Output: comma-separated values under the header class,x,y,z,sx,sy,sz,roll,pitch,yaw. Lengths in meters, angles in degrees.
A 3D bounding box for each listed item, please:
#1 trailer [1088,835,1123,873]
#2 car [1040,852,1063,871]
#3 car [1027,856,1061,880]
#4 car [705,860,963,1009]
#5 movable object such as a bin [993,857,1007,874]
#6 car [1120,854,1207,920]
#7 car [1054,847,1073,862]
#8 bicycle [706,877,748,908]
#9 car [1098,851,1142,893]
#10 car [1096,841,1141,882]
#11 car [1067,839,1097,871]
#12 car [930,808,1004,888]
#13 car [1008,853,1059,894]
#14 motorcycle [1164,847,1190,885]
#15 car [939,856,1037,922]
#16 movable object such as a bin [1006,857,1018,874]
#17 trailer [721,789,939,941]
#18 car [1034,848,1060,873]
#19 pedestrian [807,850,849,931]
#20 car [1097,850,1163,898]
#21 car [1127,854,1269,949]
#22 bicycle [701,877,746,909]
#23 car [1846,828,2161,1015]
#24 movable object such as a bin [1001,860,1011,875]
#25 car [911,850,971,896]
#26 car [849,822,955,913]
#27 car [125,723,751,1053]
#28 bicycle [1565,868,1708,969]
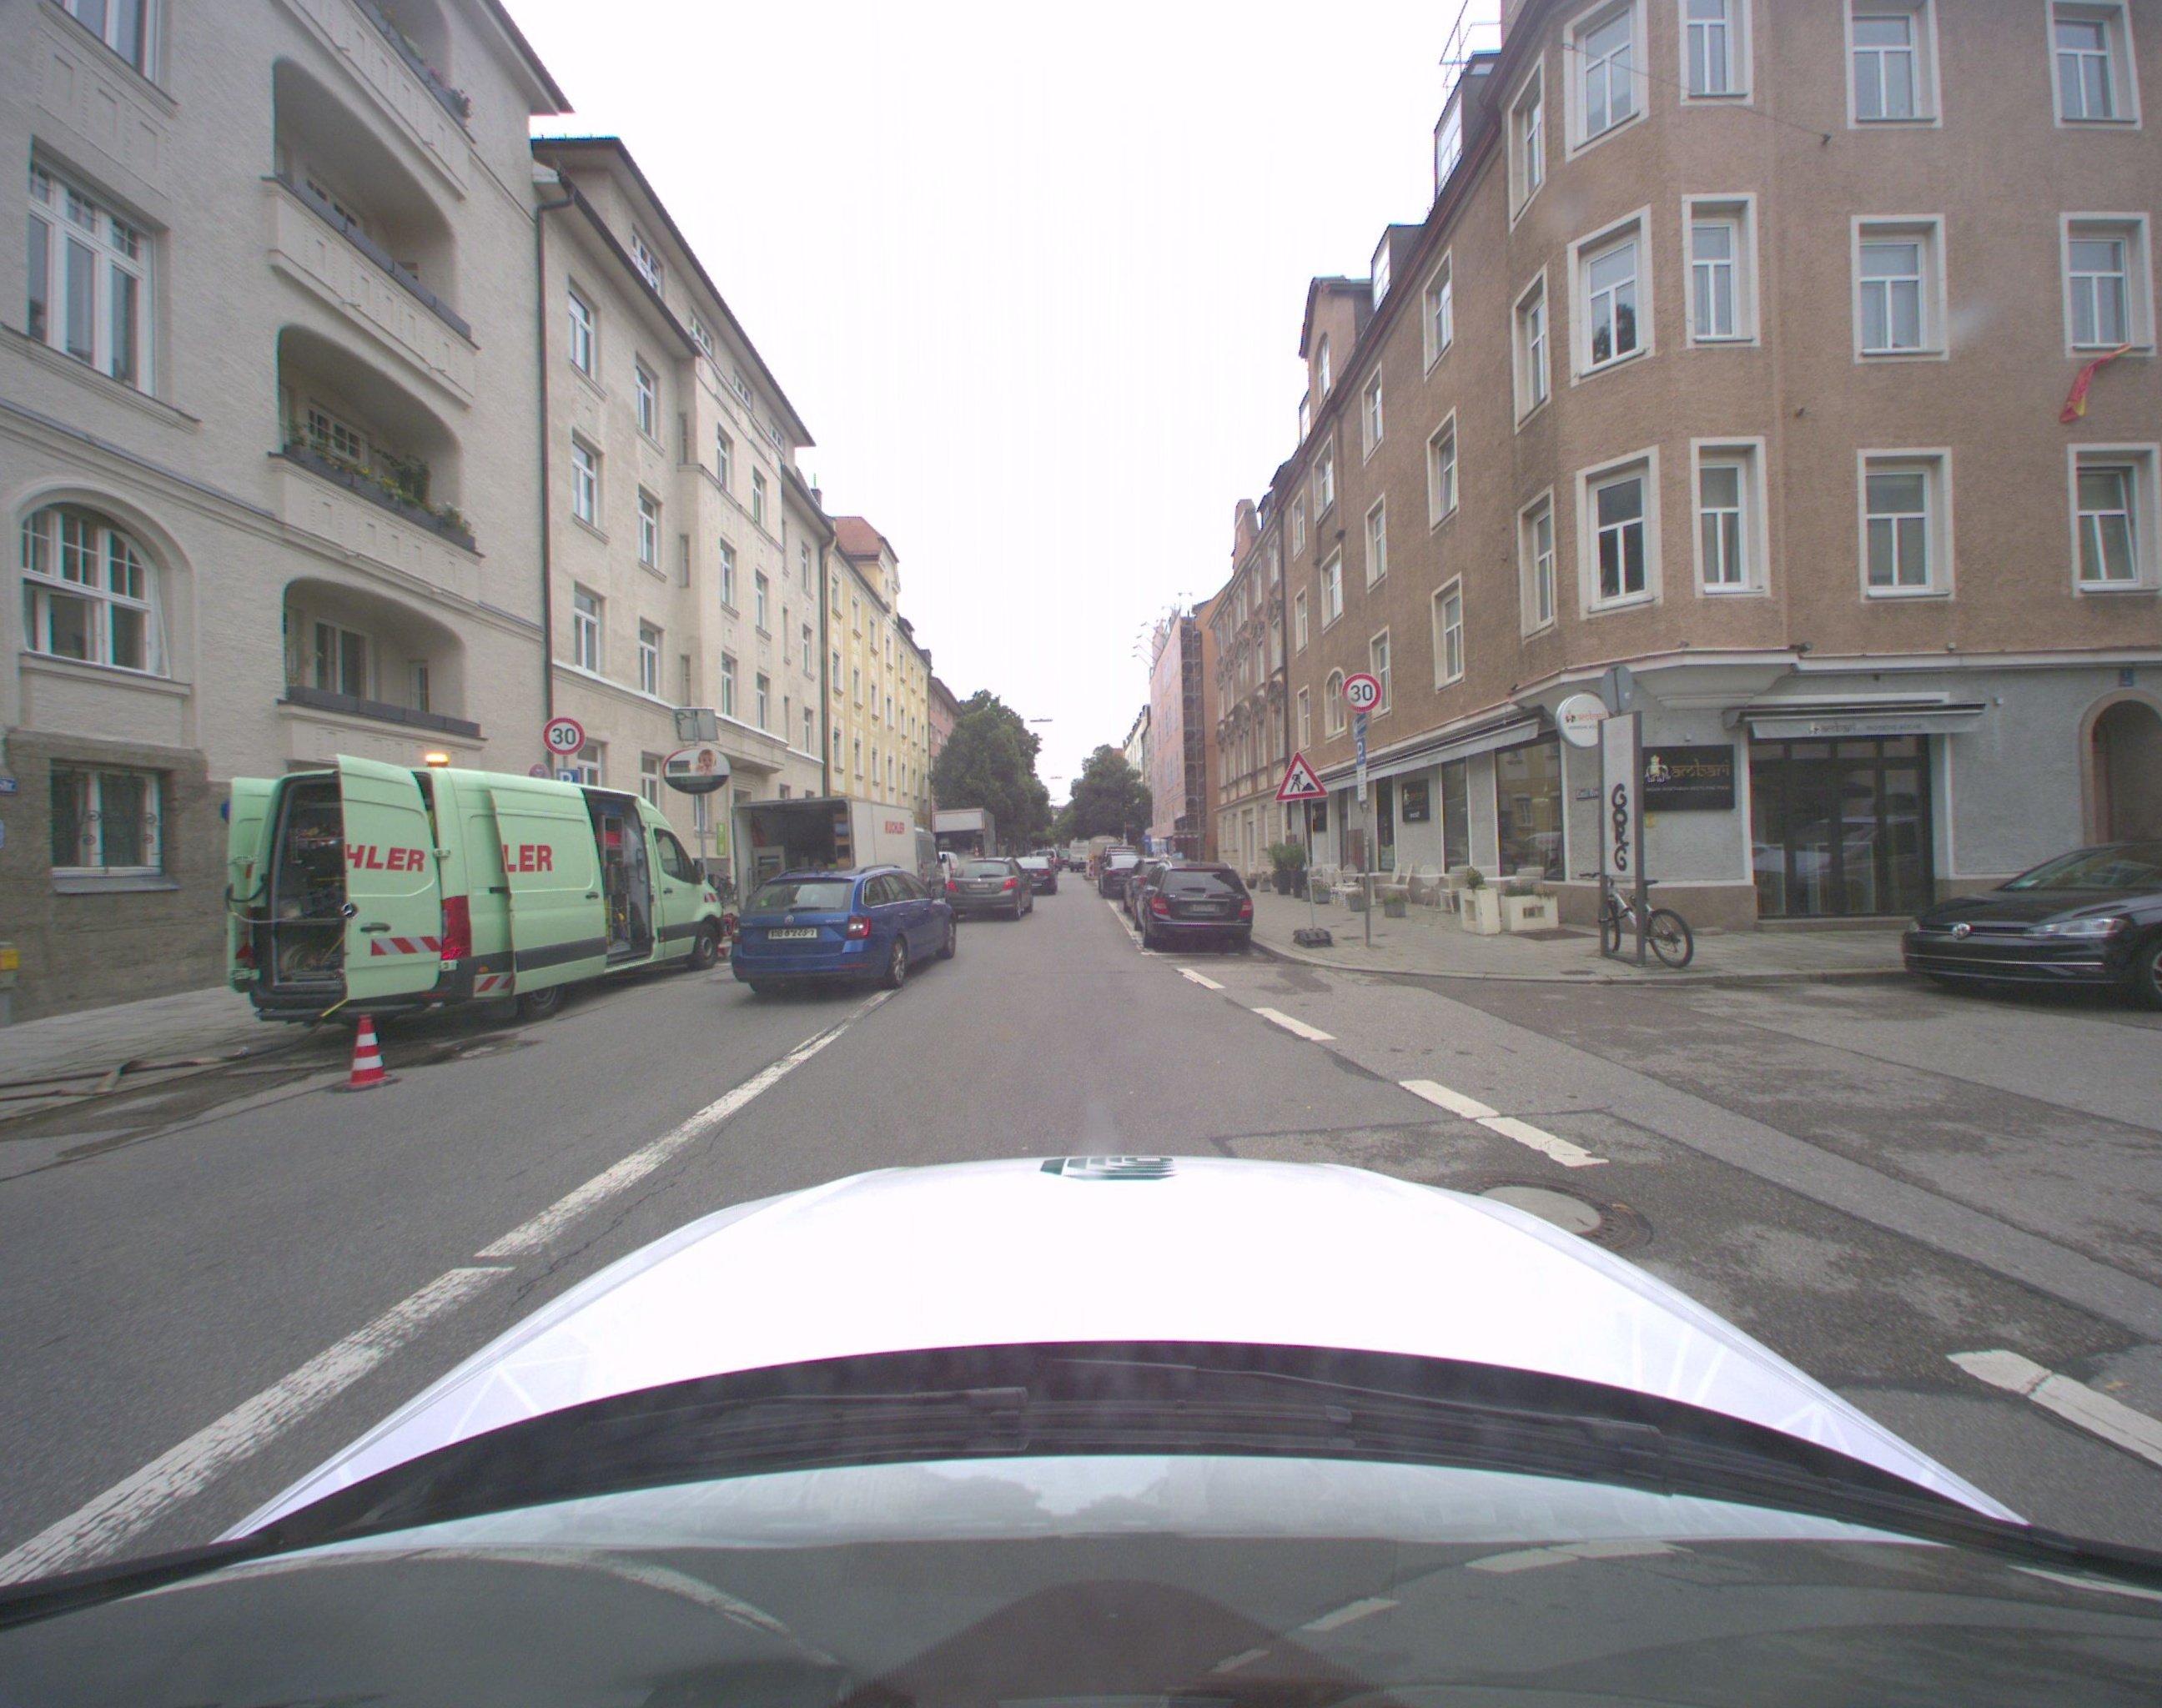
class,x,y,z,sx,sy,sz,roll,pitch,yaw
trailer,1.823,0.020,63.388,2.495,2.840,6.898,0,-1,-1
car,-2.604,0.620,72.781,1.862,1.653,4.346,0,0,-1
car,-2.188,0.832,49.315,1.862,1.348,4.346,0,0,-1
car,-2.883,0.855,10.608,1.781,1.460,4.318,-2,0,3
movable object such as a bin,-6.873,0.960,68.953,1.080,1.376,1.082,-3,0,-5
car,1.928,0.744,20.036,1.568,1.394,4.180,-2,0,-2
car,-1.938,0.043,89.100,2.003,1.653,4.343,0,0,-3
bicycle,-11.176,1.193,25.751,0.413,0.914,1.759,2,0,4
car,1.646,0.738,35.626,1.688,1.676,4.407,2,-1,0
car,1.814,0.445,41.220,2.075,1.921,5.139,0,-2,0
car,0.107,0.090,70.434,2.102,2.664,5.508,0,-1,5
car,-5.969,-0.296,44.092,2.804,3.817,8.719,-2,0,-1
car,-1.786,0.707,31.950,1.862,1.454,4.344,0,0,-2
motorcycle,3.960,0.486,33.666,0.868,1.505,1.997,-1,0,1
car,-2.158,0.779,19.848,1.734,1.422,3.667,-1,0,3
movable object such as a bin,-5.881,0.968,69.065,0.916,1.376,1.078,-3,0,-5
trailer,-5.904,0.181,20.825,2.793,2.968,7.602,-5,1,2
car,-2.553,0.468,62.522,1.862,1.870,4.346,0,0,-1
pedestrian,-5.289,0.755,17.021,0.764,1.631,0.633,-2,-1,-20
car,1.668,0.657,29.812,1.926,1.553,5.633,-1,0,-2
car,1.921,0.733,14.820,1.841,1.405,4.786,-1,0,0
bicycle,-10.901,1.186,24.891,0.392,0.914,1.593,1,-1,11
car,9.924,0.506,7.557,3.860,1.487,1.892,-2,-1,0
movable object such as a bin,-6.275,1.128,68.137,0.710,1.148,0.635,-3,0,-4
car,-6.047,0.792,35.739,1.757,1.779,4.326,-3,0,0
car,-6.001,0.414,28.320,2.050,2.587,6.873,-6,0,-1
car,-6.492,0.261,9.877,2.134,2.572,6.793,-1,0,0
bicycle,6.571,0.714,9.750,0.493,1.005,1.804,-3,1,2
